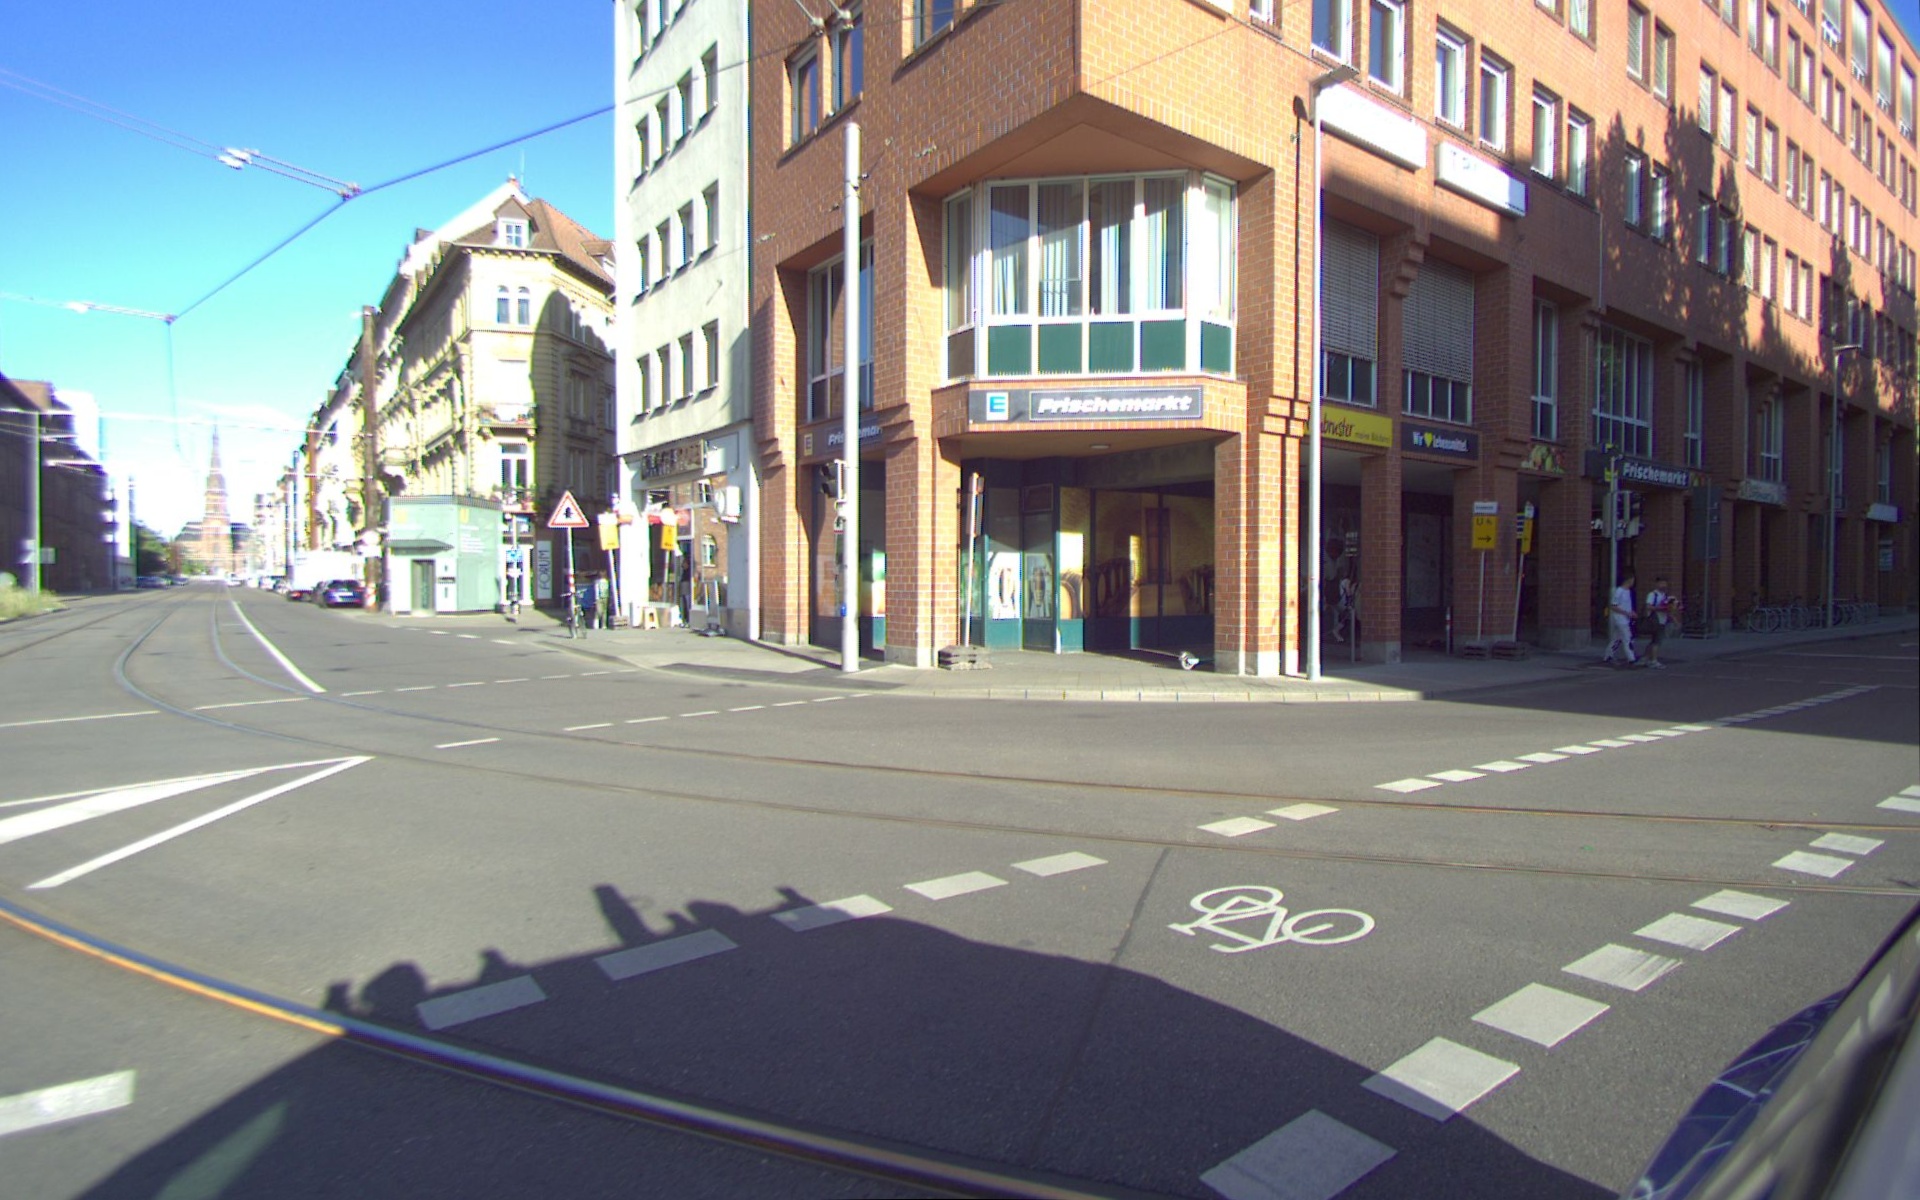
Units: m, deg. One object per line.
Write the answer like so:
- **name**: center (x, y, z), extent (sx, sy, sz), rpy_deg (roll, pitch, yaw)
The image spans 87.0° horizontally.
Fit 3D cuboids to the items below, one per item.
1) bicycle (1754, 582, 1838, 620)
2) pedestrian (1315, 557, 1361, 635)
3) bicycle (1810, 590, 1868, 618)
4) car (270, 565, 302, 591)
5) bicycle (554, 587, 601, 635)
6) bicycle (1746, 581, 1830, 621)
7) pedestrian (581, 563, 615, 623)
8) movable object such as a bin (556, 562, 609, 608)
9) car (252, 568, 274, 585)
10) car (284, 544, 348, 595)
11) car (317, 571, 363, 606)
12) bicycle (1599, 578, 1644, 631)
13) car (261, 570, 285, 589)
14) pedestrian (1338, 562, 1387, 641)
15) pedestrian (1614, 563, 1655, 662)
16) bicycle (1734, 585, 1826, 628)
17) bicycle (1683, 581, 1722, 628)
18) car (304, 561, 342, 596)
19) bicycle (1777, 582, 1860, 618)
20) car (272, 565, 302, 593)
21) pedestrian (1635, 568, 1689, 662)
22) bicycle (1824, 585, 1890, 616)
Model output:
- **bicycle**: center (25.682, 0.011, 31.126), extent (0.540, 1.133, 1.897), rpy_deg (0, 1, -36)
- **pedestrian**: center (8.281, -0.096, 22.169), extent (0.782, 1.683, 0.601), rpy_deg (0, 0, -37)
- **bicycle**: center (28.988, 0.119, 33.396), extent (0.416, 0.851, 1.339), rpy_deg (0, 3, -35)
- **car**: center (-56.875, -1.812, 85.398), extent (2.192, 2.039, 4.344), rpy_deg (-1, 0, -34)
- **bicycle**: center (-8.394, 0.217, 22.159), extent (0.451, 1.003, 1.865), rpy_deg (-3, 2, -37)
- **bicycle**: center (25.027, 0.018, 30.610), extent (0.466, 1.133, 1.897), rpy_deg (0, 1, -37)
- **pedestrian**: center (-10.195, -0.199, 28.531), extent (0.679, 1.658, 0.963), rpy_deg (0, 2, -6)
- **movable object such as a bin**: center (-15.692, -0.612, 42.072), extent (1.620, 1.806, 1.400), rpy_deg (-1, 0, 5)
- **car**: center (-88.865, -2.939, 129.052), extent (2.192, 2.039, 4.344), rpy_deg (-1, 0, -34)
- **car**: center (-41.002, -1.956, 64.366), extent (5.349, 3.059, 2.244), rpy_deg (2, 2, 44)
- **car**: center (-31.187, -0.603, 50.831), extent (1.695, 1.630, 3.929), rpy_deg (-1, 2, -35)
- **bicycle**: center (16.343, 0.100, 24.986), extent (1.678, 1.272, 0.340), rpy_deg (0, 1, -36)
- **car**: center (-77.494, -2.300, 114.259), extent (2.192, 2.039, 4.344), rpy_deg (-1, 0, -34)
- **pedestrian**: center (8.325, 0.026, 20.964), extent (0.833, 1.610, 0.751), rpy_deg (0, 0, 14)
- **pedestrian**: center (12.559, 0.222, 18.853), extent (0.531, 1.815, 0.477), rpy_deg (0, 0, -37)
- **bicycle**: center (22.566, 0.158, 27.894), extent (0.466, 1.133, 1.897), rpy_deg (0, 1, -36)
- **bicycle**: center (19.608, 0.116, 26.723), extent (1.646, 1.198, 0.340), rpy_deg (0, 1, -36)
- **car**: center (-37.792, -1.314, 59.986), extent (1.695, 1.996, 3.929), rpy_deg (-1, 2, -35)
- **bicycle**: center (27.873, -0.004, 32.902), extent (0.561, 1.070, 1.941), rpy_deg (0, 3, -33)
- **car**: center (-62.057, -1.920, 93.347), extent (2.192, 2.413, 4.344), rpy_deg (-1, 0, -34)
- **pedestrian**: center (13.242, 0.269, 19.111), extent (0.620, 1.746, 0.633), rpy_deg (0, 0, 11)
- **bicycle**: center (31.102, -0.006, 35.109), extent (0.544, 0.966, 1.618), rpy_deg (0, 3, -35)
